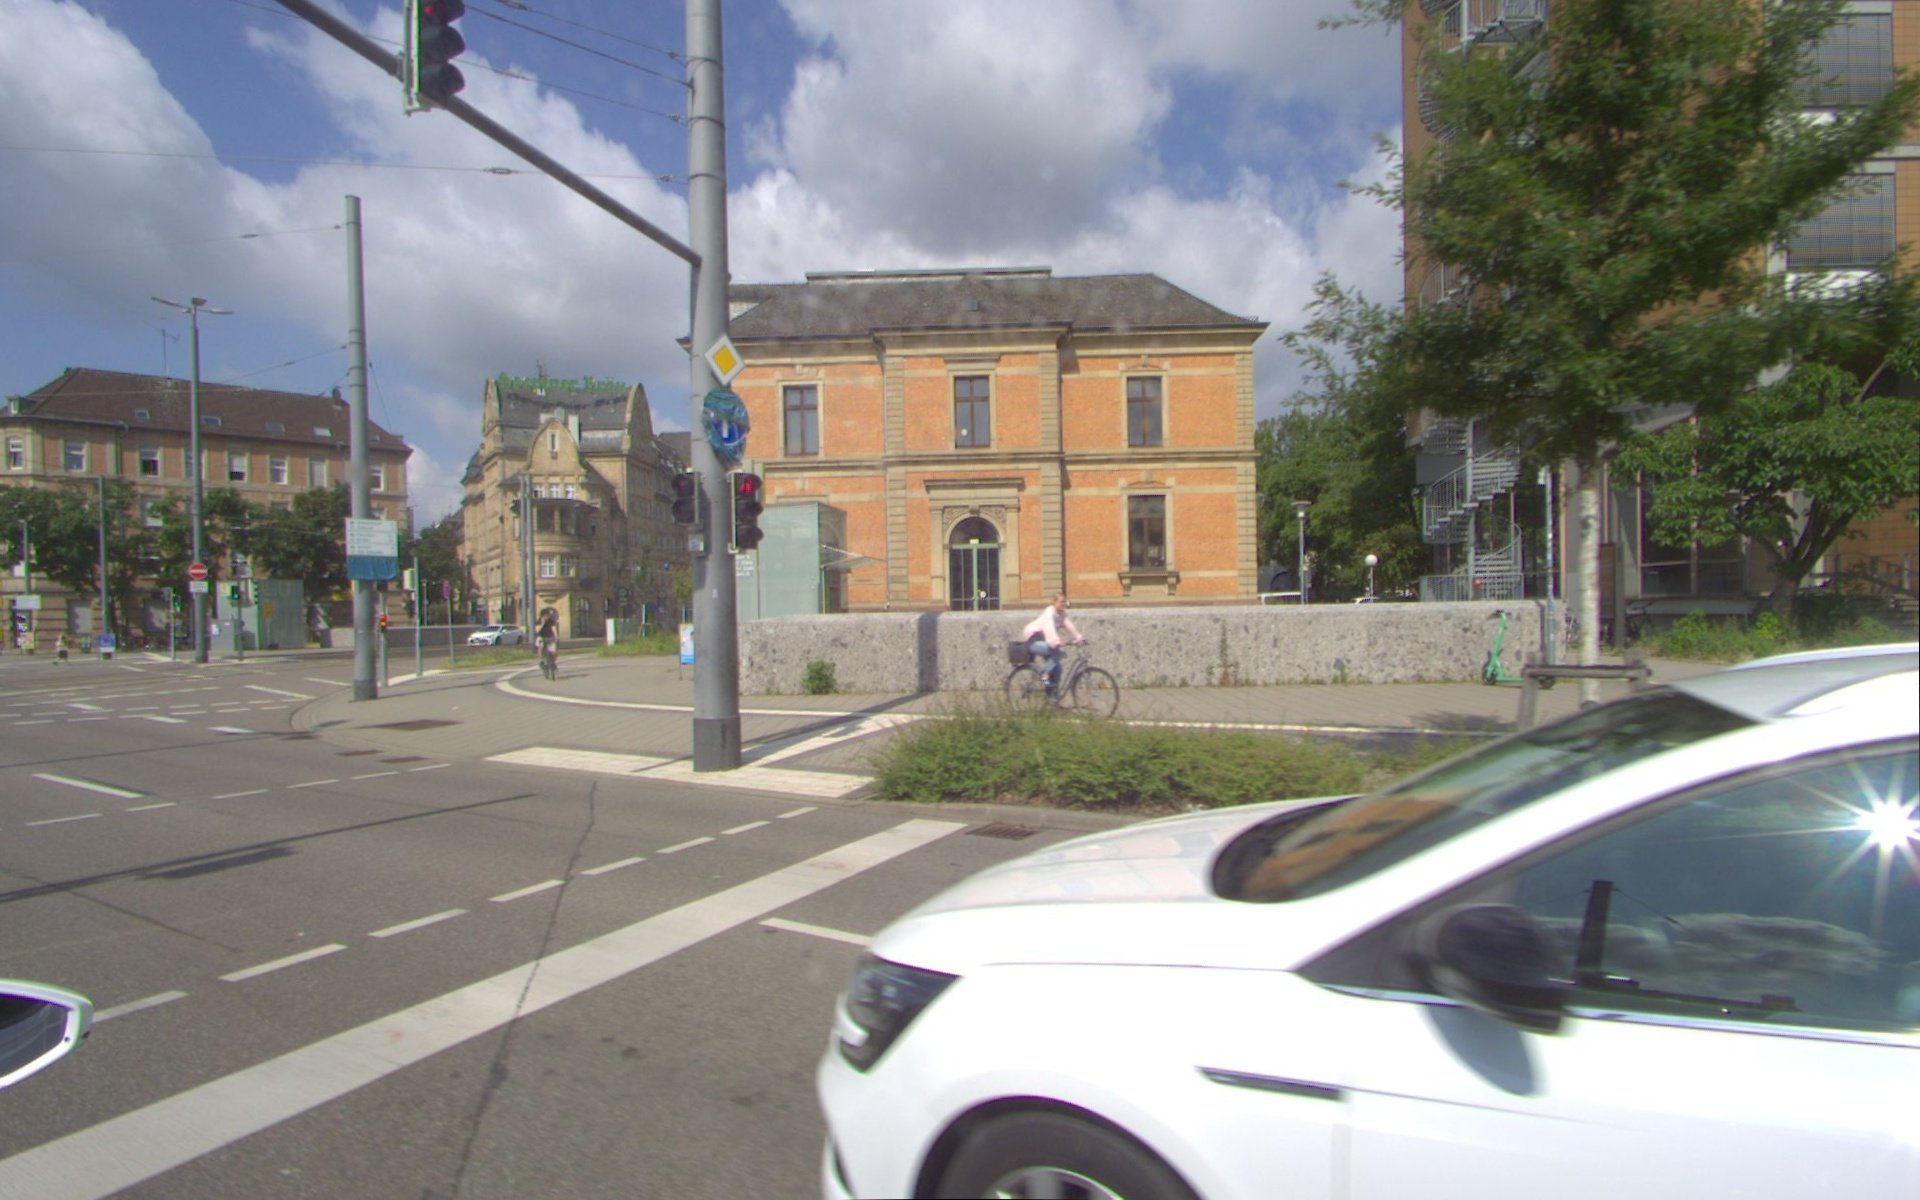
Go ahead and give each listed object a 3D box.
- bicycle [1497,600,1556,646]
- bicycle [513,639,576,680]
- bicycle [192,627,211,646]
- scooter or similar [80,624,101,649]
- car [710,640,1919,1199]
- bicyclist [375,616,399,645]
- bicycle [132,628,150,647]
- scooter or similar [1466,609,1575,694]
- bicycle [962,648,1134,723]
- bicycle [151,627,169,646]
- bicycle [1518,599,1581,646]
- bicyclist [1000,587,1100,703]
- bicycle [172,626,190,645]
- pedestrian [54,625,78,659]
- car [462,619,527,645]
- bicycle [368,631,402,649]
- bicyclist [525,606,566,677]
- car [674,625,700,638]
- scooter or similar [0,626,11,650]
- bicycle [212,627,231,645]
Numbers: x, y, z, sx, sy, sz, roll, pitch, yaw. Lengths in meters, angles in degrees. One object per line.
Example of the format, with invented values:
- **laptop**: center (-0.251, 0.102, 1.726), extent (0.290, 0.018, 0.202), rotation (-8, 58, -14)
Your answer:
- **bicycle**: center (16.258, 0.659, 28.745), extent (1.446, 1.264, 0.428), rotation (-1, 0, 1)
- **bicycle**: center (-10.188, 1.429, 24.543), extent (1.790, 0.887, 0.754), rotation (-1, 3, 44)
- **bicycle**: center (-49.823, 2.375, 65.752), extent (0.753, 1.181, 2.661), rotation (-1, -1, -42)
- **scooter or similar**: center (-53.596, 2.261, 61.688), extent (0.872, 1.502, 1.995), rotation (-1, -1, -44)
- **car**: center (1.860, 0.795, 1.737), extent (4.608, 1.447, 1.755), rotation (-2, -3, 32)
- **bicyclist**: center (-35.023, 1.864, 61.204), extent (0.605, 1.696, 1.145), rotation (-1, 0, 22)
- **bicycle**: center (-52.187, 2.368, 63.784), extent (0.753, 1.181, 2.661), rotation (-1, -1, -42)
- **scooter or similar**: center (8.599, 0.761, 15.424), extent (0.427, 1.199, 1.532), rotation (-1, 1, -22)
- **bicycle**: center (1.147, 1.106, 13.364), extent (2.243, 0.909, 0.650), rotation (-1, 0, 32)
- **bicycle**: center (-51.513, 2.366, 64.469), extent (0.753, 1.181, 2.661), rotation (-1, -1, -42)
- **bicycle**: center (16.309, 0.623, 27.713), extent (1.446, 1.264, 0.428), rotation (-1, 0, 1)
- **bicyclist**: center (1.200, 0.580, 13.325), extent (1.153, 1.476, 0.633), rotation (-1, 0, 32)
- **bicycle**: center (-50.574, 2.338, 65.015), extent (0.753, 1.180, 2.662), rotation (1, -3, -41)
- **pedestrian**: center (-40.576, 1.892, 45.466), extent (0.733, 1.536, 0.541), rotation (-1, 0, -36)
- **car**: center (-30.123, 2.105, 64.979), extent (1.919, 1.616, 4.509), rotation (-1, -3, 4)
- **bicycle**: center (-35.126, 2.432, 61.226), extent (0.831, 0.968, 1.778), rotation (-2, 0, 9)
- **bicyclist**: center (-10.188, 1.010, 24.599), extent (0.927, 1.694, 0.574), rotation (-1, 1, 44)
- **car**: center (-30.664, 3.523, 112.728), extent (1.833, 1.401, 4.003), rotation (-1, -3, 0)
- **scooter or similar**: center (-57.307, 2.269, 59.377), extent (2.772, 1.403, 1.171), rotation (-3, -3, 40)
- **bicycle**: center (-49.264, 2.397, 66.799), extent (0.753, 1.181, 2.661), rotation (-1, -1, -42)
